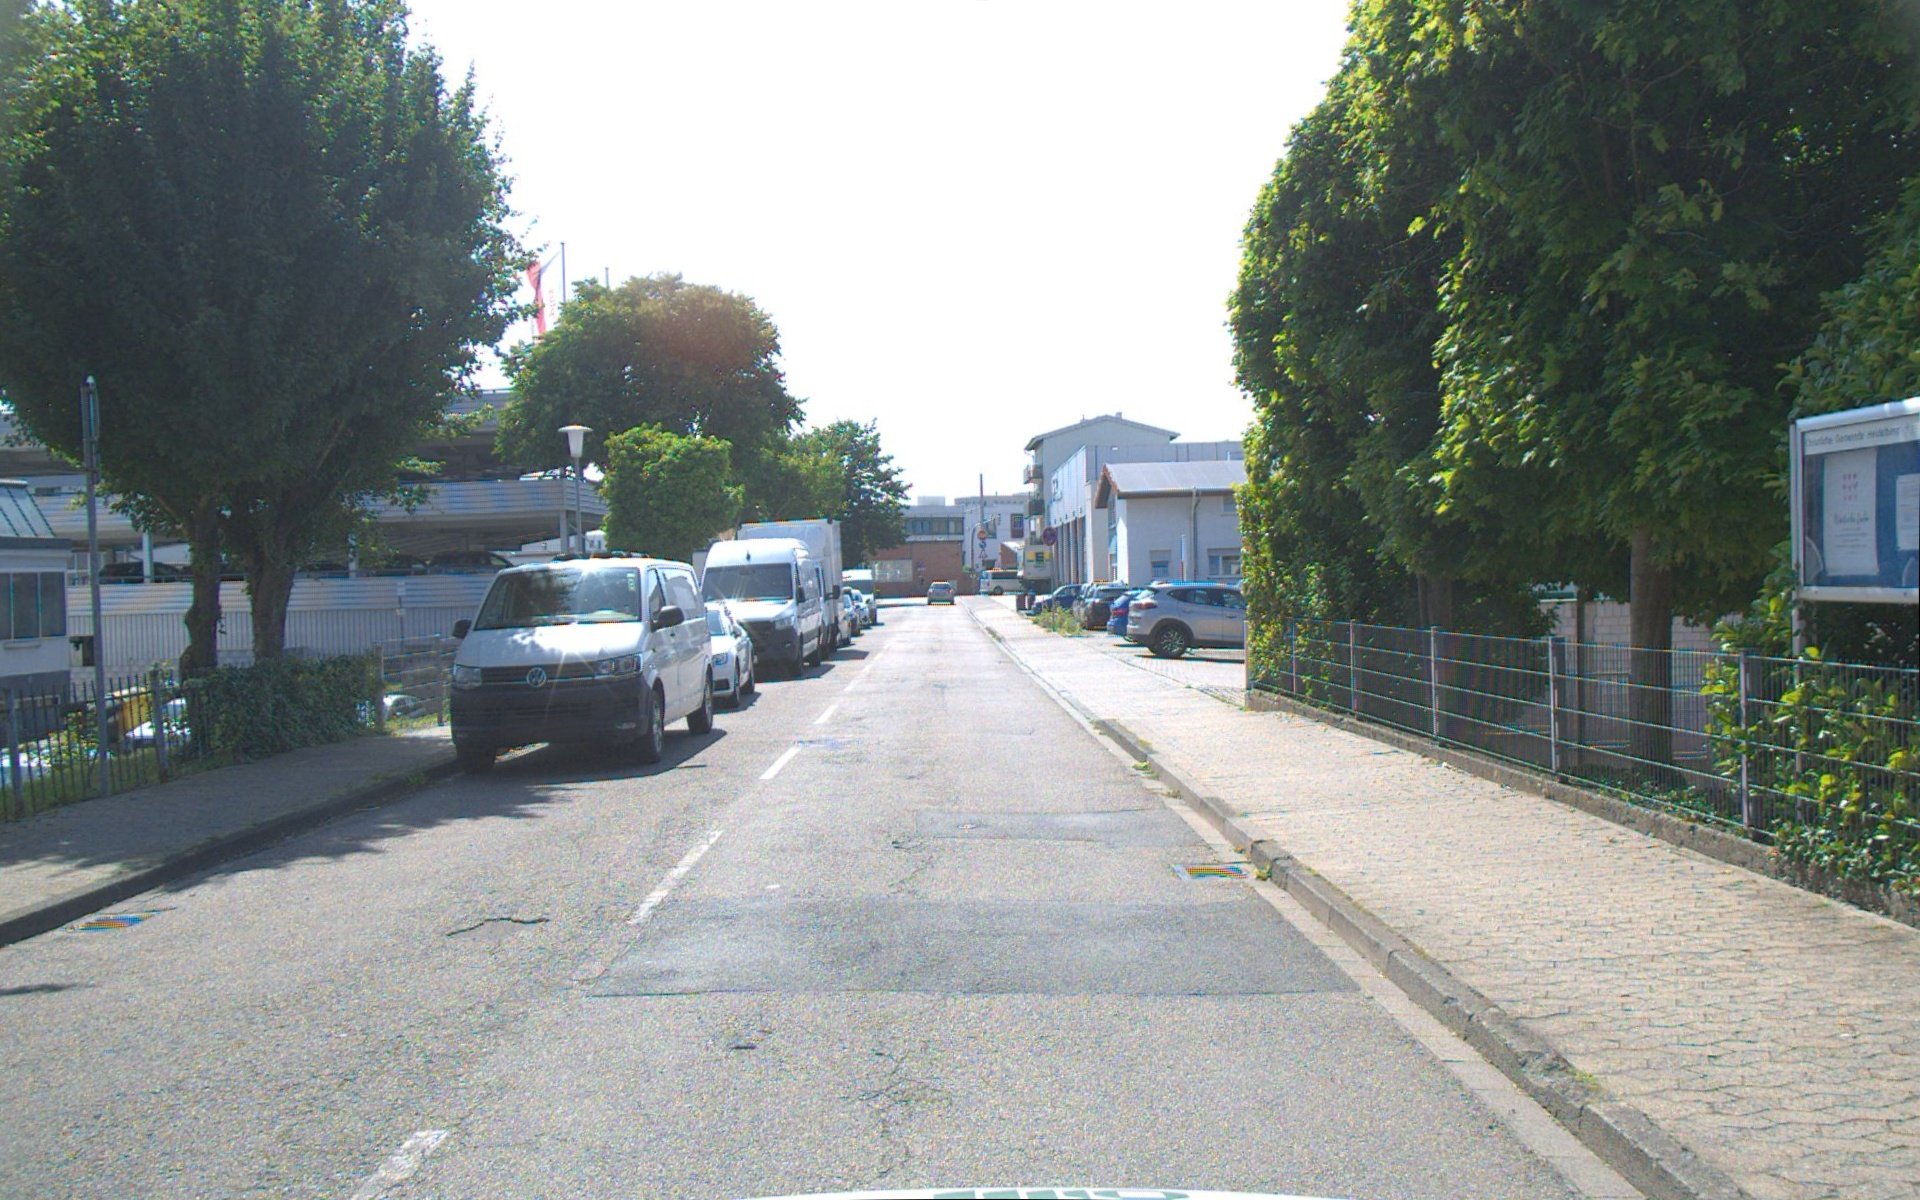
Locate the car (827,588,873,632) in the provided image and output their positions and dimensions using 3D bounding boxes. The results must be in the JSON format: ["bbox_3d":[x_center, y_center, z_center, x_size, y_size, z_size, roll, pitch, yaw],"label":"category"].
[{"bbox_3d":[-4.489,0.380,66.842,1.672,1.652,3.969,-3,0,-5],"label":"car"}]

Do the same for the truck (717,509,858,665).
[{"bbox_3d":[-4.127,-0.286,41.005,2.630,3.425,7.129,-2,0,0],"label":"truck"}]

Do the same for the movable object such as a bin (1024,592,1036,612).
[{"bbox_3d":[3.475,0.103,81.910,0.502,0.962,0.488,-2,1,10],"label":"movable object such as a bin"}]

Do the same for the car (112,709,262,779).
[{"bbox_3d":[-20.706,3.827,44.483,1.952,1.467,4.001,-2,0,3],"label":"car"}]

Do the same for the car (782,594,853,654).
[{"bbox_3d":[-4.063,0.653,47.815,1.706,1.547,4.309,-2,1,-1],"label":"car"}]

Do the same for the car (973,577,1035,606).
[{"bbox_3d":[3.539,-0.689,133.328,4.586,1.992,1.905,-3,-1,-20],"label":"car"}]

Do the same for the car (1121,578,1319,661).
[{"bbox_3d":[5.807,0.421,37.256,4.116,1.711,1.766,1,0,-2],"label":"car"}]

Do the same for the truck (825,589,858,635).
[{"bbox_3d":[-4.516,0.427,63.232,1.116,1.650,3.139,-4,1,-3],"label":"truck"}]

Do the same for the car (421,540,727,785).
[{"bbox_3d":[-3.766,0.552,17.139,1.931,2.048,5.055,-3,0,-1],"label":"car"}]

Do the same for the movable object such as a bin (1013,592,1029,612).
[{"bbox_3d":[2.996,0.096,81.490,0.557,0.962,0.556,-2,1,33],"label":"movable object such as a bin"}]

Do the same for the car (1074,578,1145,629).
[{"bbox_3d":[5.060,0.090,56.488,1.821,1.595,4.950,-2,1,-1],"label":"car"}]

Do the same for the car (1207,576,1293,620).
[{"bbox_3d":[10.890,-0.074,62.406,1.729,1.522,4.137,-3,1,-12],"label":"car"}]

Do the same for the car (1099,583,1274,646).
[{"bbox_3d":[5.887,0.368,43.315,4.265,1.466,1.892,-2,0,-2],"label":"car"}]

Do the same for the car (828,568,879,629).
[{"bbox_3d":[-4.599,-0.077,72.015,1.965,2.407,5.227,-4,1,-3],"label":"car"}]

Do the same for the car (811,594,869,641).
[{"bbox_3d":[-4.147,0.578,57.457,1.670,1.488,4.114,-3,0,0],"label":"car"}]

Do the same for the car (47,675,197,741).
[{"bbox_3d":[-23.199,2.951,45.973,1.952,1.467,4.002,-2,1,3],"label":"car"}]

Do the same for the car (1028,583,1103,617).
[{"bbox_3d":[4.686,-0.010,73.921,3.187,1.423,1.673,-2,1,-1],"label":"car"}]

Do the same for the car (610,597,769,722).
[{"bbox_3d":[-3.866,0.802,24.310,1.680,1.570,4.399,-3,0,-2],"label":"car"}]

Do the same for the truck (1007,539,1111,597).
[{"bbox_3d":[7.478,-2.417,125.162,7.221,3.708,2.764,-5,1,-7],"label":"truck"}]

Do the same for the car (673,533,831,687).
[{"bbox_3d":[-3.994,0.189,33.125,2.124,2.641,6.920,-3,0,0],"label":"car"}]

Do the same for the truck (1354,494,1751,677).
[{"bbox_3d":[12.277,-0.295,34.655,7.365,3.483,2.526,1,0,-1],"label":"truck"}]

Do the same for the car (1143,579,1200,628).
[{"bbox_3d":[7.574,0.101,59.486,1.723,1.622,3.620,1,1,2],"label":"car"}]

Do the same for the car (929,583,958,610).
[{"bbox_3d":[-1.119,-0.218,111.185,1.852,1.714,3.957,1,0,-1],"label":"car"}]
